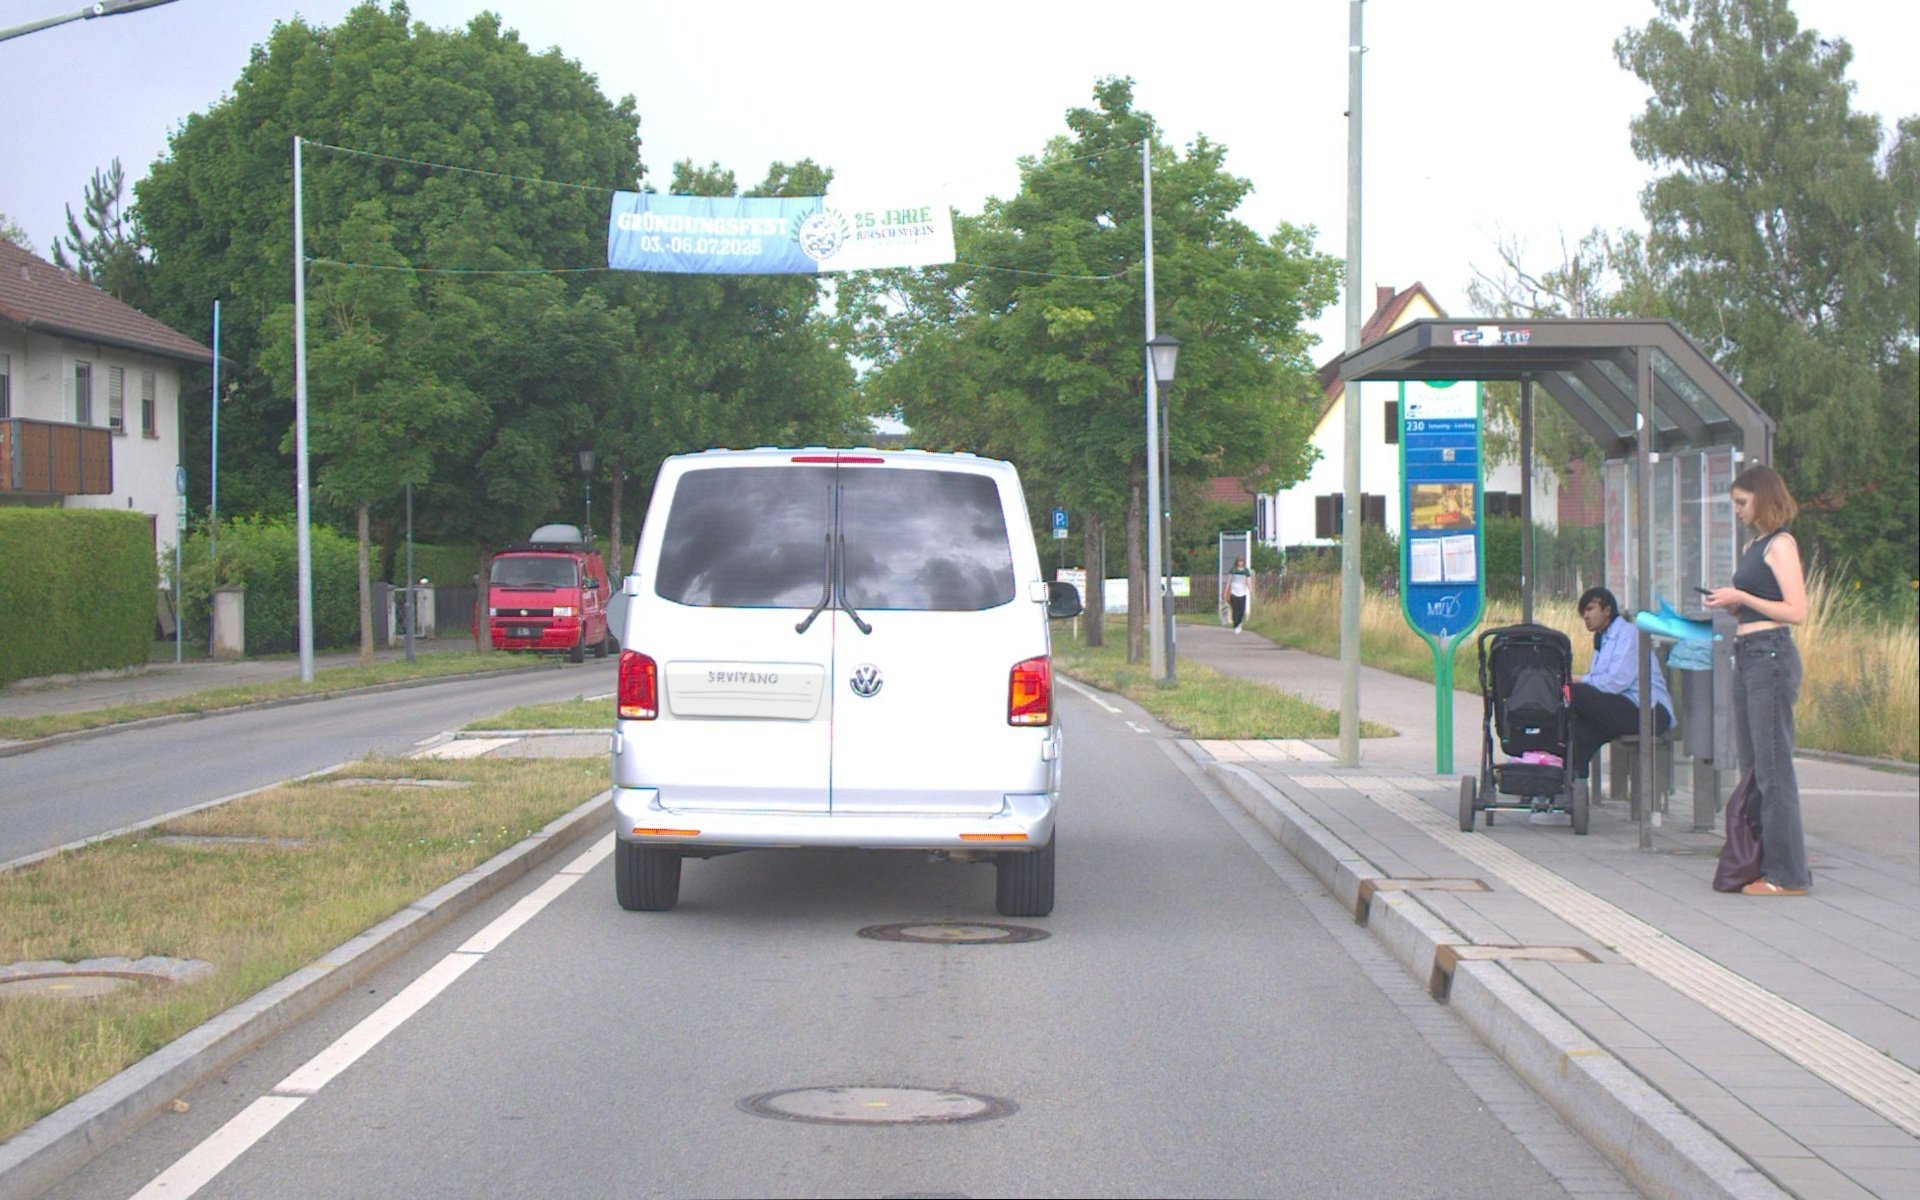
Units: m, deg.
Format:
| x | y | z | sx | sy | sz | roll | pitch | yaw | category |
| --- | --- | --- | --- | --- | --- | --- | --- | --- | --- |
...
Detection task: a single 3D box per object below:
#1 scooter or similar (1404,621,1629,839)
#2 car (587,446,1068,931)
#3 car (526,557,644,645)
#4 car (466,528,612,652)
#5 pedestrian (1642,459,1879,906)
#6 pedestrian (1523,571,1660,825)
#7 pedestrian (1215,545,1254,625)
| x | y | z | sx | sy | sz | roll | pitch | yaw | category |
| --- | --- | --- | --- | --- | --- | --- | --- | --- | --- |
| 2.853 | 0.645 | 17.582 | 0.708 | 1.058 | 1.058 | 1 | 0 | 37 | scooter or similar |
| -0.548 | 0.340 | 15.585 | 1.888 | 1.905 | 4.000 | 0 | 0 | -1 | car |
| -7.147 | -0.012 | 65.830 | 1.771 | 1.592 | 4.238 | 1 | 1 | 0 | car |
| -7.261 | -0.212 | 59.756 | 1.830 | 2.023 | 5.046 | 1 | 1 | 1 | car |
| 3.313 | 0.329 | 14.290 | 0.781 | 1.786 | 0.779 | 1 | 0 | 2 | pedestrian |
| 3.317 | 0.507 | 18.091 | 0.665 | 1.298 | 0.505 | 2 | 0 | 9 | pedestrian |
| 6.026 | -0.331 | 75.565 | 0.837 | 1.749 | 0.869 | 0 | 0 | 5 | pedestrian |
